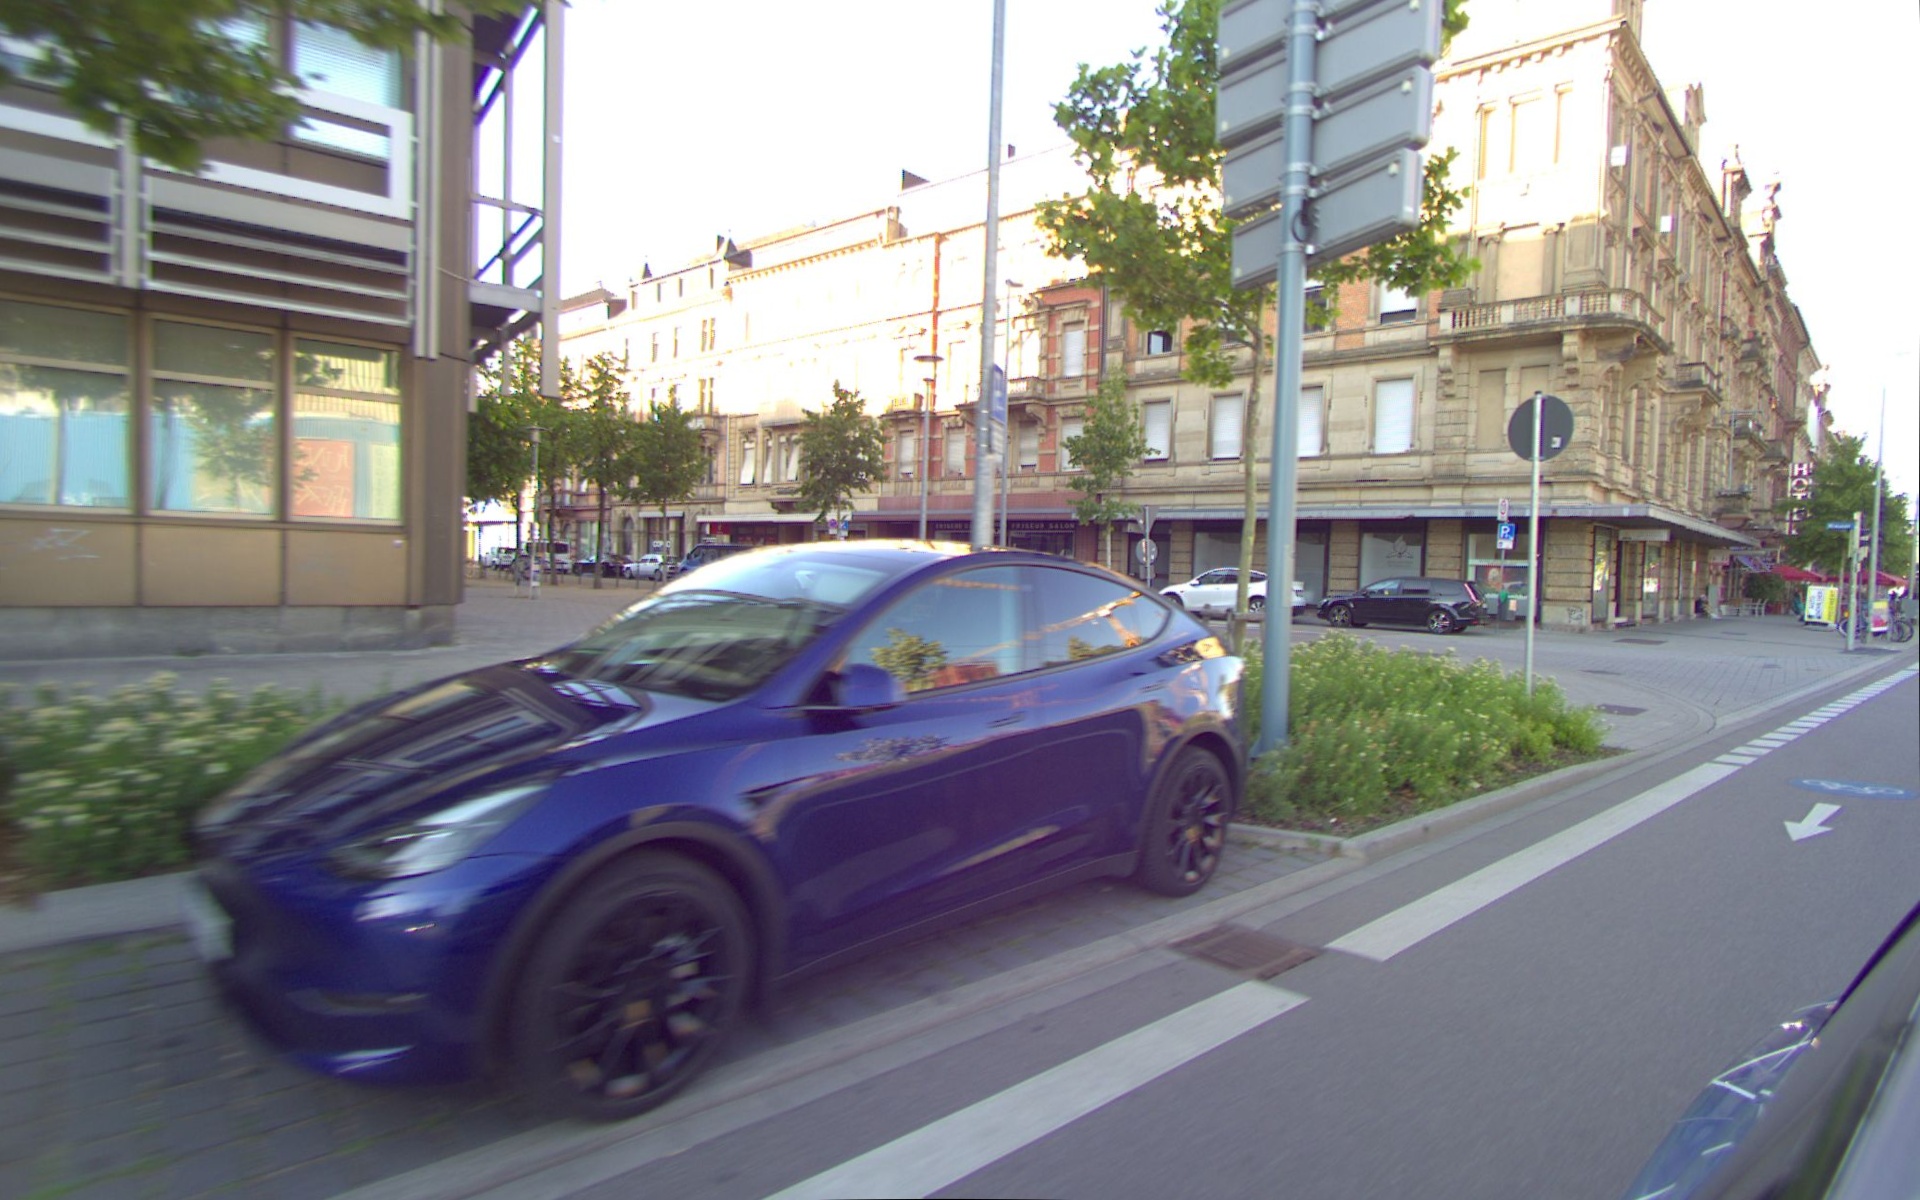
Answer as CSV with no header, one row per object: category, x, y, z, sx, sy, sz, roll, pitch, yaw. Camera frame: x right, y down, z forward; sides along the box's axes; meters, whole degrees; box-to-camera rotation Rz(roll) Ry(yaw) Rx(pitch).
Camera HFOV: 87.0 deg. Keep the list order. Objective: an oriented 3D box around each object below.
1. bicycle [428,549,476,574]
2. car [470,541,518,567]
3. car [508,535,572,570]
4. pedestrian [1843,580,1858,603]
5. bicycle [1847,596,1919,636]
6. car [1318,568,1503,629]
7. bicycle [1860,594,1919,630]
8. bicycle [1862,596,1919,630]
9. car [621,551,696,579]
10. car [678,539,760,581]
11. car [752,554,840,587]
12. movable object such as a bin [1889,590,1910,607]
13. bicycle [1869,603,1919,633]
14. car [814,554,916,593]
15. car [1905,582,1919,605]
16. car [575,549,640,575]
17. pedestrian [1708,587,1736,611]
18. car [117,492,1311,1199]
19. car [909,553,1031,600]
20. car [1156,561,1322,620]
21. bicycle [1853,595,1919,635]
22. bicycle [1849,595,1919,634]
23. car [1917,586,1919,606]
bicycle,-22.819,-1.733,45.499,1.887,1.055,0.585,2,2,3
car,-29.965,-2.938,65.049,3.365,1.630,1.634,3,3,41
car,-25.195,-2.846,60.678,4.027,2.004,2.030,3,3,41
pedestrian,71.411,-0.680,81.176,0.748,1.776,1.055,5,3,44
bicycle,29.505,0.490,32.233,0.498,1.117,1.759,0,5,-39
car,12.239,-0.097,27.640,4.257,1.467,1.836,3,3,40
bicycle,33.005,0.421,35.635,0.556,1.117,1.850,0,5,-39
bicycle,34.019,0.470,36.725,0.556,1.060,1.810,0,5,-39
car,-15.624,-1.829,52.285,4.052,1.347,1.836,3,3,40
car,-11.638,-1.947,48.699,4.036,1.952,1.836,3,3,40
car,-7.328,-1.339,44.976,3.854,1.408,1.836,3,3,40
movable object such as a bin,54.920,-0.078,59.146,0.549,0.935,0.679,0,5,-25
bicycle,31.891,0.592,34.448,0.498,0.887,1.278,0,5,-39
car,-3.961,-1.130,41.922,4.188,1.500,1.836,3,3,40
car,69.471,-0.460,72.886,1.850,1.583,4.228,6,4,44
car,-19.328,-2.092,55.444,3.916,1.347,1.639,3,3,40
pedestrian,32.146,-0.033,42.701,0.790,0.974,0.814,0,3,-43
car,-0.515,0.510,4.336,1.933,1.617,4.623,6,5,45
car,0.335,-0.920,38.107,4.435,1.644,1.850,3,3,40
car,8.458,-0.357,30.876,4.535,1.614,1.836,3,3,40
bicycle,29.981,0.483,32.567,0.498,1.117,1.759,0,5,-39
bicycle,30.751,0.457,33.585,0.498,1.117,1.727,0,5,-39
car,74.562,-0.256,77.410,1.849,1.471,5.171,6,4,43
